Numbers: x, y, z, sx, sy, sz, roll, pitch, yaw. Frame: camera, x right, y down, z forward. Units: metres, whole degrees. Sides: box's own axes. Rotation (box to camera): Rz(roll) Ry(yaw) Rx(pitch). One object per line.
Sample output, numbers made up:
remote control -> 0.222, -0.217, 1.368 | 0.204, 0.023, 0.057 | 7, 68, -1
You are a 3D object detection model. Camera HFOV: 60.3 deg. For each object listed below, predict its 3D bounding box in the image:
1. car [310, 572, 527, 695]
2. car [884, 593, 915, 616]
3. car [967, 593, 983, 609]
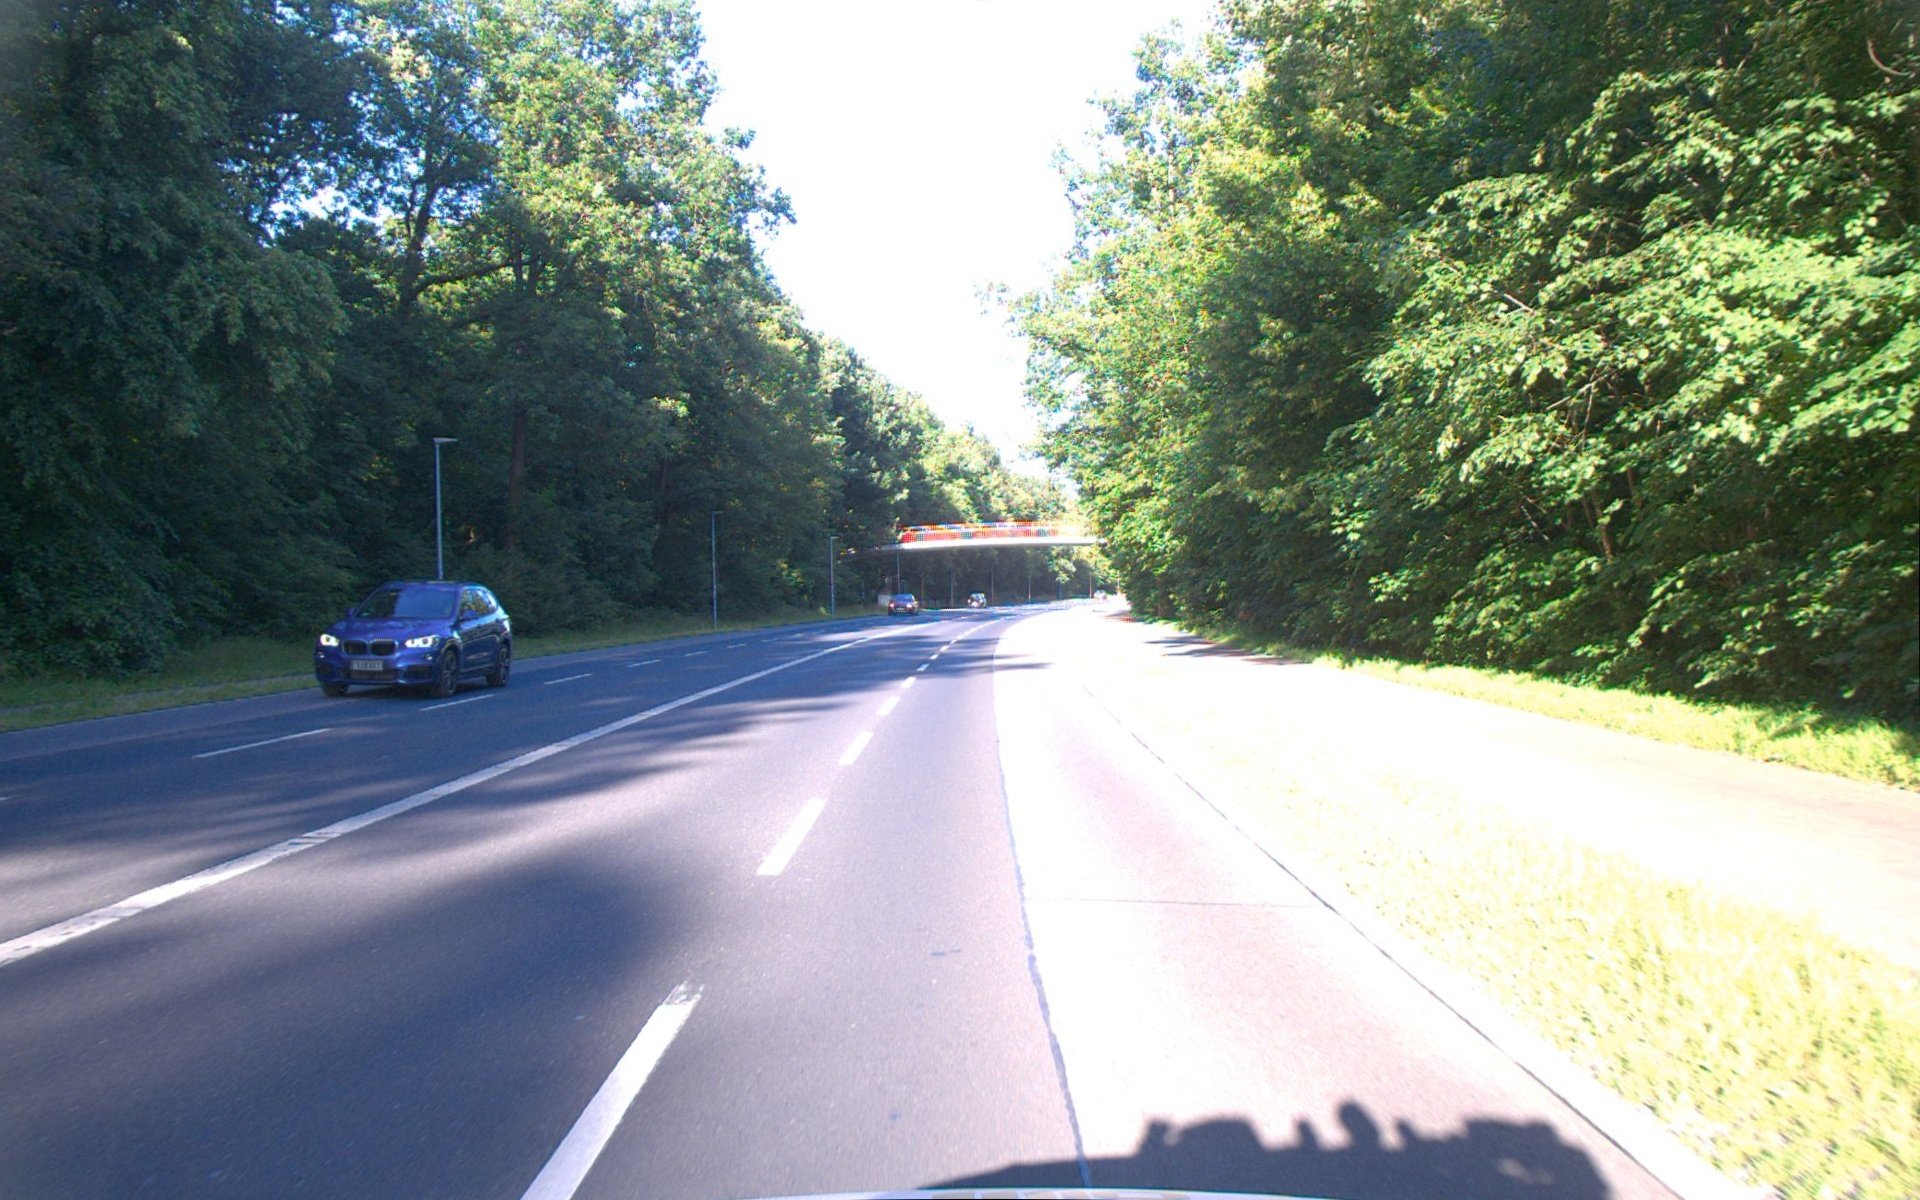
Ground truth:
car -> -8.008, 0.444, 24.923 | 1.770, 1.692, 4.522 | 0, 0, 0
car -> -4.030, 0.288, 110.773 | 1.674, 1.448, 4.132 | -1, 0, 4
car -> 1.457, 0.077, 163.224 | 1.464, 1.469, 3.501 | -1, 0, 2
